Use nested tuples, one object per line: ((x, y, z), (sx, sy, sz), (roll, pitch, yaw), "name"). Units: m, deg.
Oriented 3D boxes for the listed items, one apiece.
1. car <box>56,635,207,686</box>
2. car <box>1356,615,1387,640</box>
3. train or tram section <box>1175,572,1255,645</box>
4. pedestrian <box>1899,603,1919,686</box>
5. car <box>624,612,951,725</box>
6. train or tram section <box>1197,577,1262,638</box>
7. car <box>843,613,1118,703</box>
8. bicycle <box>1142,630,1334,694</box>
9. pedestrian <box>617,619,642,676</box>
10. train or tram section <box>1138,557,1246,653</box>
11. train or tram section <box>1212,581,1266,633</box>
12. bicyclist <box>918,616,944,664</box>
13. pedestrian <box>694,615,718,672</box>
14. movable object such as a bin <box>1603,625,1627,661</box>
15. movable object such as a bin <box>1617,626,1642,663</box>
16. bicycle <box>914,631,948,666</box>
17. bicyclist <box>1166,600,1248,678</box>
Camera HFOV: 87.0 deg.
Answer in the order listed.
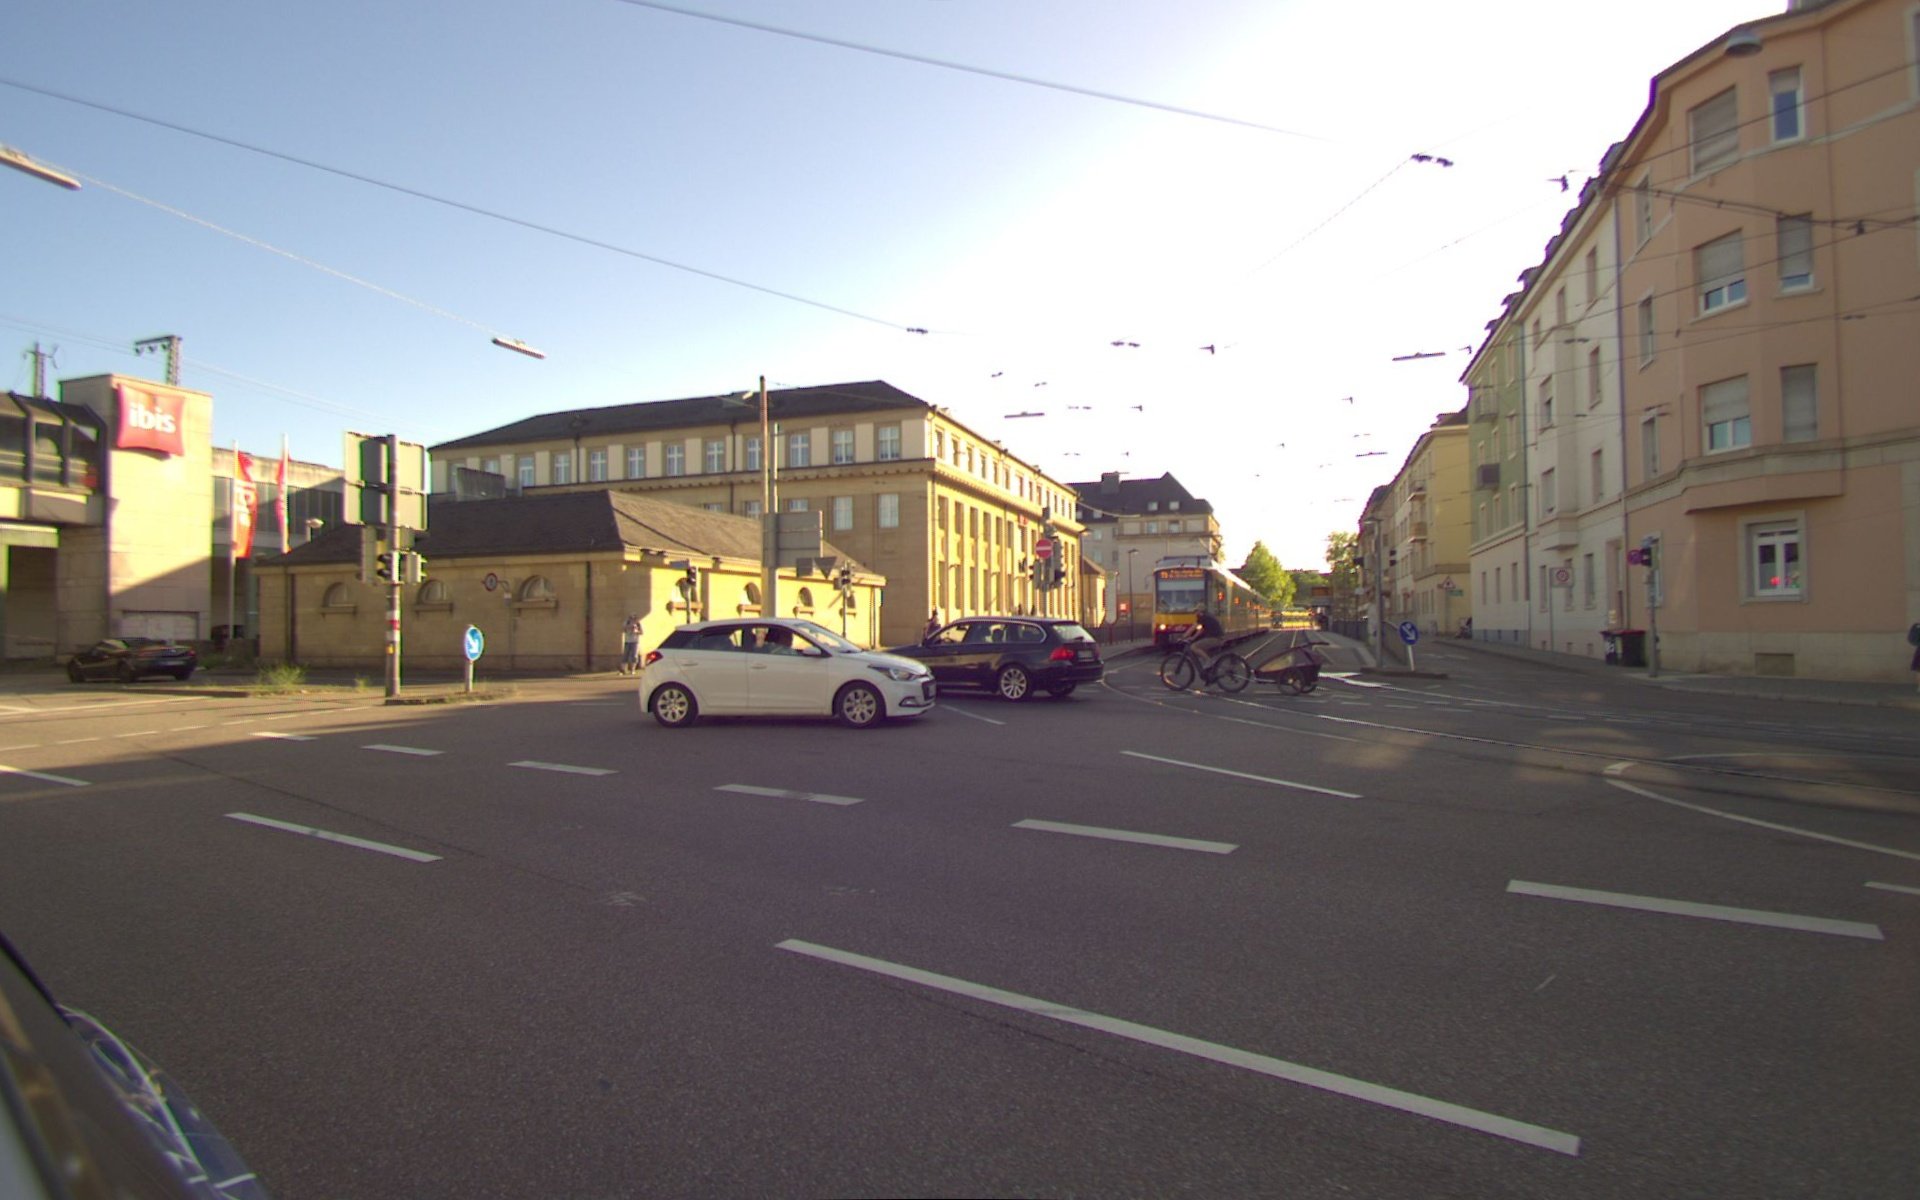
((-25.308, 1.828, 30.928), (4.299, 1.436, 1.815), (-2, -2, 23), "car")
((30.821, 2.048, 75.905), (1.896, 1.752, 4.271), (-1, -2, 19), "car")
((13.355, 0.437, 52.360), (3.141, 3.382, 10.614), (-1, -1, 19), "train or tram section")
((18.383, 0.834, 19.062), (0.666, 1.575, 0.722), (0, -2, -15), "pedestrian")
((-2.270, 0.914, 13.824), (4.059, 1.404, 1.787), (-1, -2, 10), "car")
((16.789, 0.478, 62.469), (3.141, 3.382, 10.782), (-1, -1, 19), "train or tram section")
((0.291, 0.974, 17.888), (4.551, 1.403, 1.976), (-2, -2, 35), "car")
((4.997, 1.107, 18.497), (0.923, 1.064, 3.356), (1, -2, -45), "bicycle")
((-9.730, 1.380, 29.774), (0.615, 1.652, 0.515), (-1, -2, -7), "pedestrian")
((9.840, 0.308, 41.770), (3.143, 3.346, 11.744), (-1, -2, 19), "train or tram section")
((20.150, 0.522, 72.653), (3.141, 3.382, 10.782), (-1, -1, 19), "train or tram section")
((-1.007, 1.390, 35.629), (0.671, 1.652, 0.935), (-1, -1, 14), "bicyclist")
((-7.425, 1.263, 29.573), (0.615, 1.652, 0.490), (-1, -2, -7), "pedestrian")
((19.423, 1.277, 30.027), (0.479, 1.074, 0.448), (-1, -2, 19), "movable object such as a bin")
((19.235, 1.271, 29.084), (0.479, 1.040, 0.448), (-1, -2, 19), "movable object such as a bin")
((-1.015, 1.681, 35.564), (0.679, 1.145, 2.065), (-1, 0, 13), "bicycle")
((4.607, 0.726, 18.911), (0.923, 1.393, 1.148), (1, -2, -45), "bicyclist")
